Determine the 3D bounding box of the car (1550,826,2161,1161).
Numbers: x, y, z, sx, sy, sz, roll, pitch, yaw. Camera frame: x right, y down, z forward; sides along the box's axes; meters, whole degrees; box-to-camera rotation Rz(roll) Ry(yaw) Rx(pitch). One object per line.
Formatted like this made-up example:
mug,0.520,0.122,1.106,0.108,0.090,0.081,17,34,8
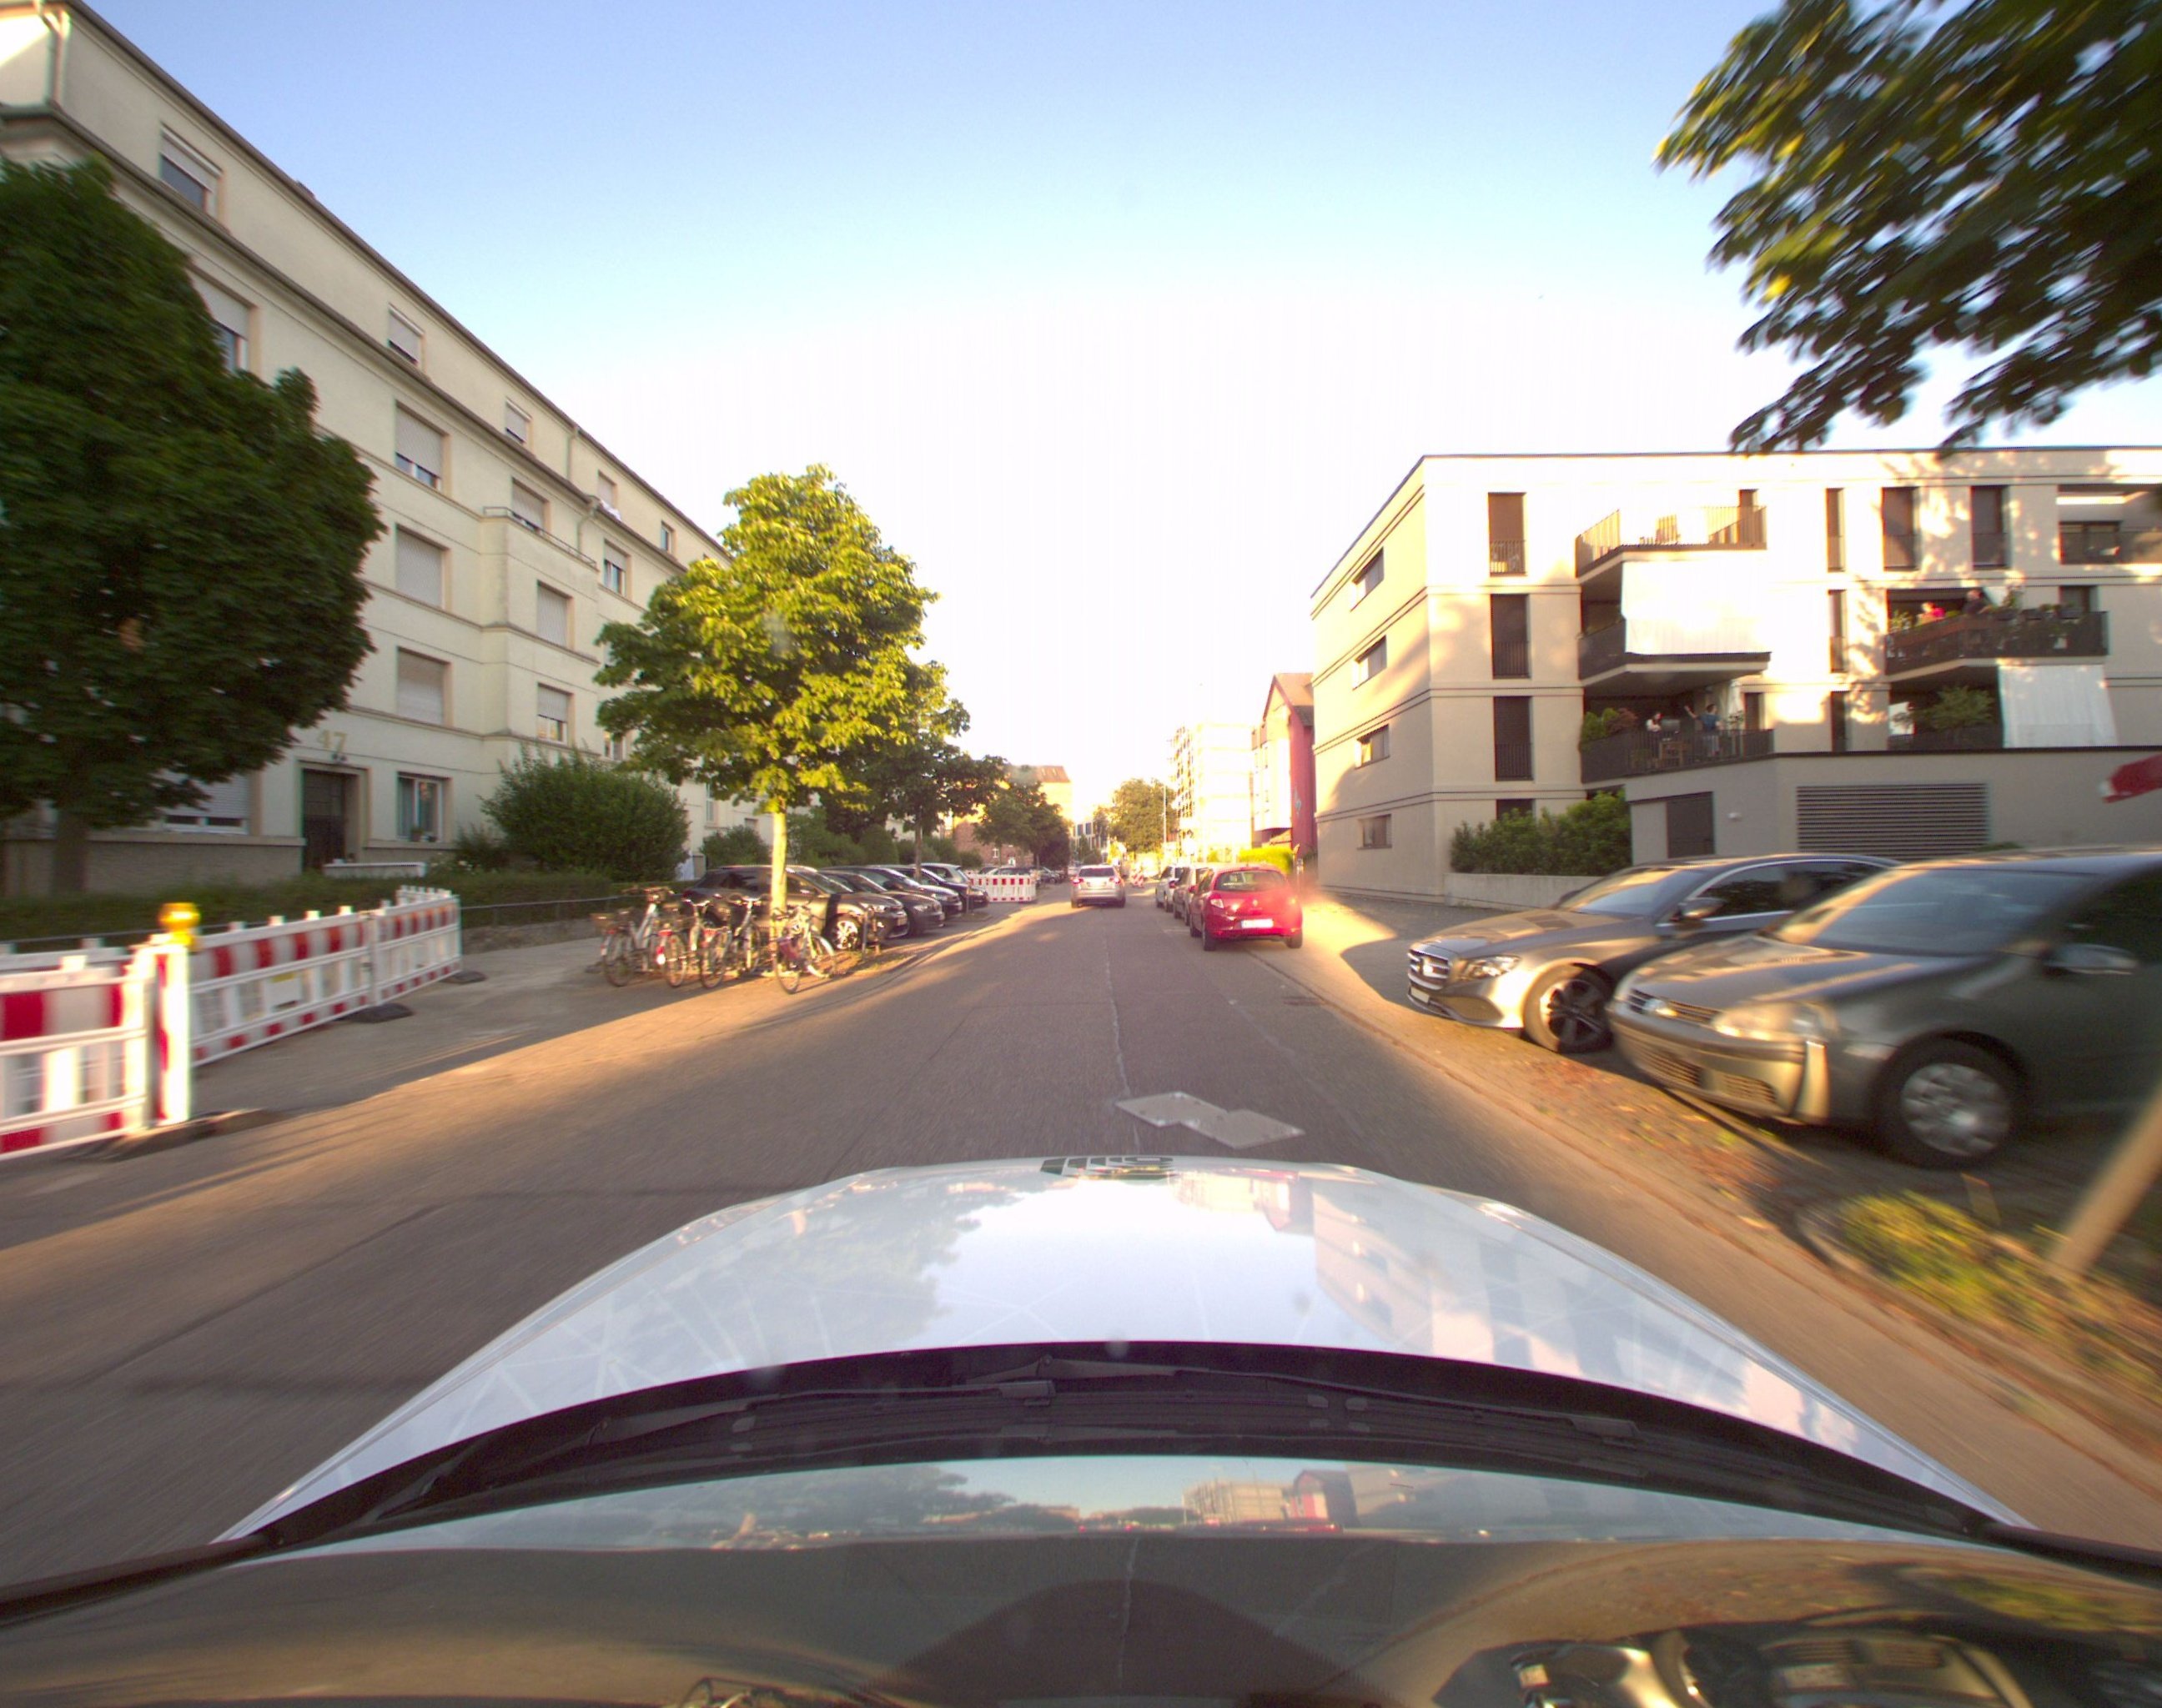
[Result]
car,5.262,0.644,4.694,4.037,1.501,1.772,-2,0,3

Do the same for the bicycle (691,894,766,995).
bicycle,-4.577,1.135,10.652,0.278,1.158,1.526,-1,-1,1

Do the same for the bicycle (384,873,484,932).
bicycle,-15.303,1.126,19.279,1.888,1.318,0.442,-1,-1,-6

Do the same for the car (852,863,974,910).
car,-5.613,1.068,27.464,3.684,1.484,1.729,0,-1,2

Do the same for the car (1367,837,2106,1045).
car,5.184,0.669,7.018,4.797,1.398,1.772,-2,0,3

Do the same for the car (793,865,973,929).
car,-4.861,1.044,20.370,4.015,1.484,1.729,0,-1,2

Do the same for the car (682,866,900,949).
car,-5.387,0.973,15.441,3.428,1.443,1.763,0,-1,2

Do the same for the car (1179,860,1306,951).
car,2.911,0.873,15.391,1.734,1.469,3.760,-1,-1,2

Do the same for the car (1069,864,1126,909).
car,0.587,1.048,27.914,1.769,1.397,4.109,-1,-1,2

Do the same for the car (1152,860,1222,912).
car,3.276,0.952,25.815,1.610,1.469,3.994,-1,-1,-1

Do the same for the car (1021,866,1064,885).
car,-3.351,1.882,71.211,3.611,1.557,1.693,-1,-1,0

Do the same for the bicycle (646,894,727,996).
bicycle,-5.089,1.138,10.586,0.278,1.158,1.526,-1,-1,1

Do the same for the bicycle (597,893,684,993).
bicycle,-5.737,1.117,10.682,0.278,1.158,1.526,-1,-1,1

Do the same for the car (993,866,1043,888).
car,-4.441,1.633,57.795,3.466,1.566,1.726,0,-2,-3

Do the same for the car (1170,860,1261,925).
car,3.333,0.911,20.861,1.791,1.469,3.845,-1,-1,2

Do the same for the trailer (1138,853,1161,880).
trailer,6.744,1.228,80.772,1.986,2.540,4.187,-1,-1,2

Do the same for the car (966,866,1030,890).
car,-5.089,1.480,50.226,3.662,1.484,1.729,0,-2,2

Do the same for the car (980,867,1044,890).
car,-4.482,1.610,53.459,3.961,1.489,1.729,0,-2,2

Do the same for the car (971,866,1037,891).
car,-4.485,1.438,47.748,3.662,1.445,1.729,0,-2,2

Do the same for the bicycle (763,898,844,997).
bicycle,-3.533,1.157,10.486,0.445,1.096,1.629,-1,-1,1

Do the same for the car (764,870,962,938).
car,-4.675,1.055,17.778,3.826,1.384,1.608,0,-1,2

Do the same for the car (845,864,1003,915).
car,-4.790,1.059,25.200,4.489,1.484,1.729,0,-1,2
